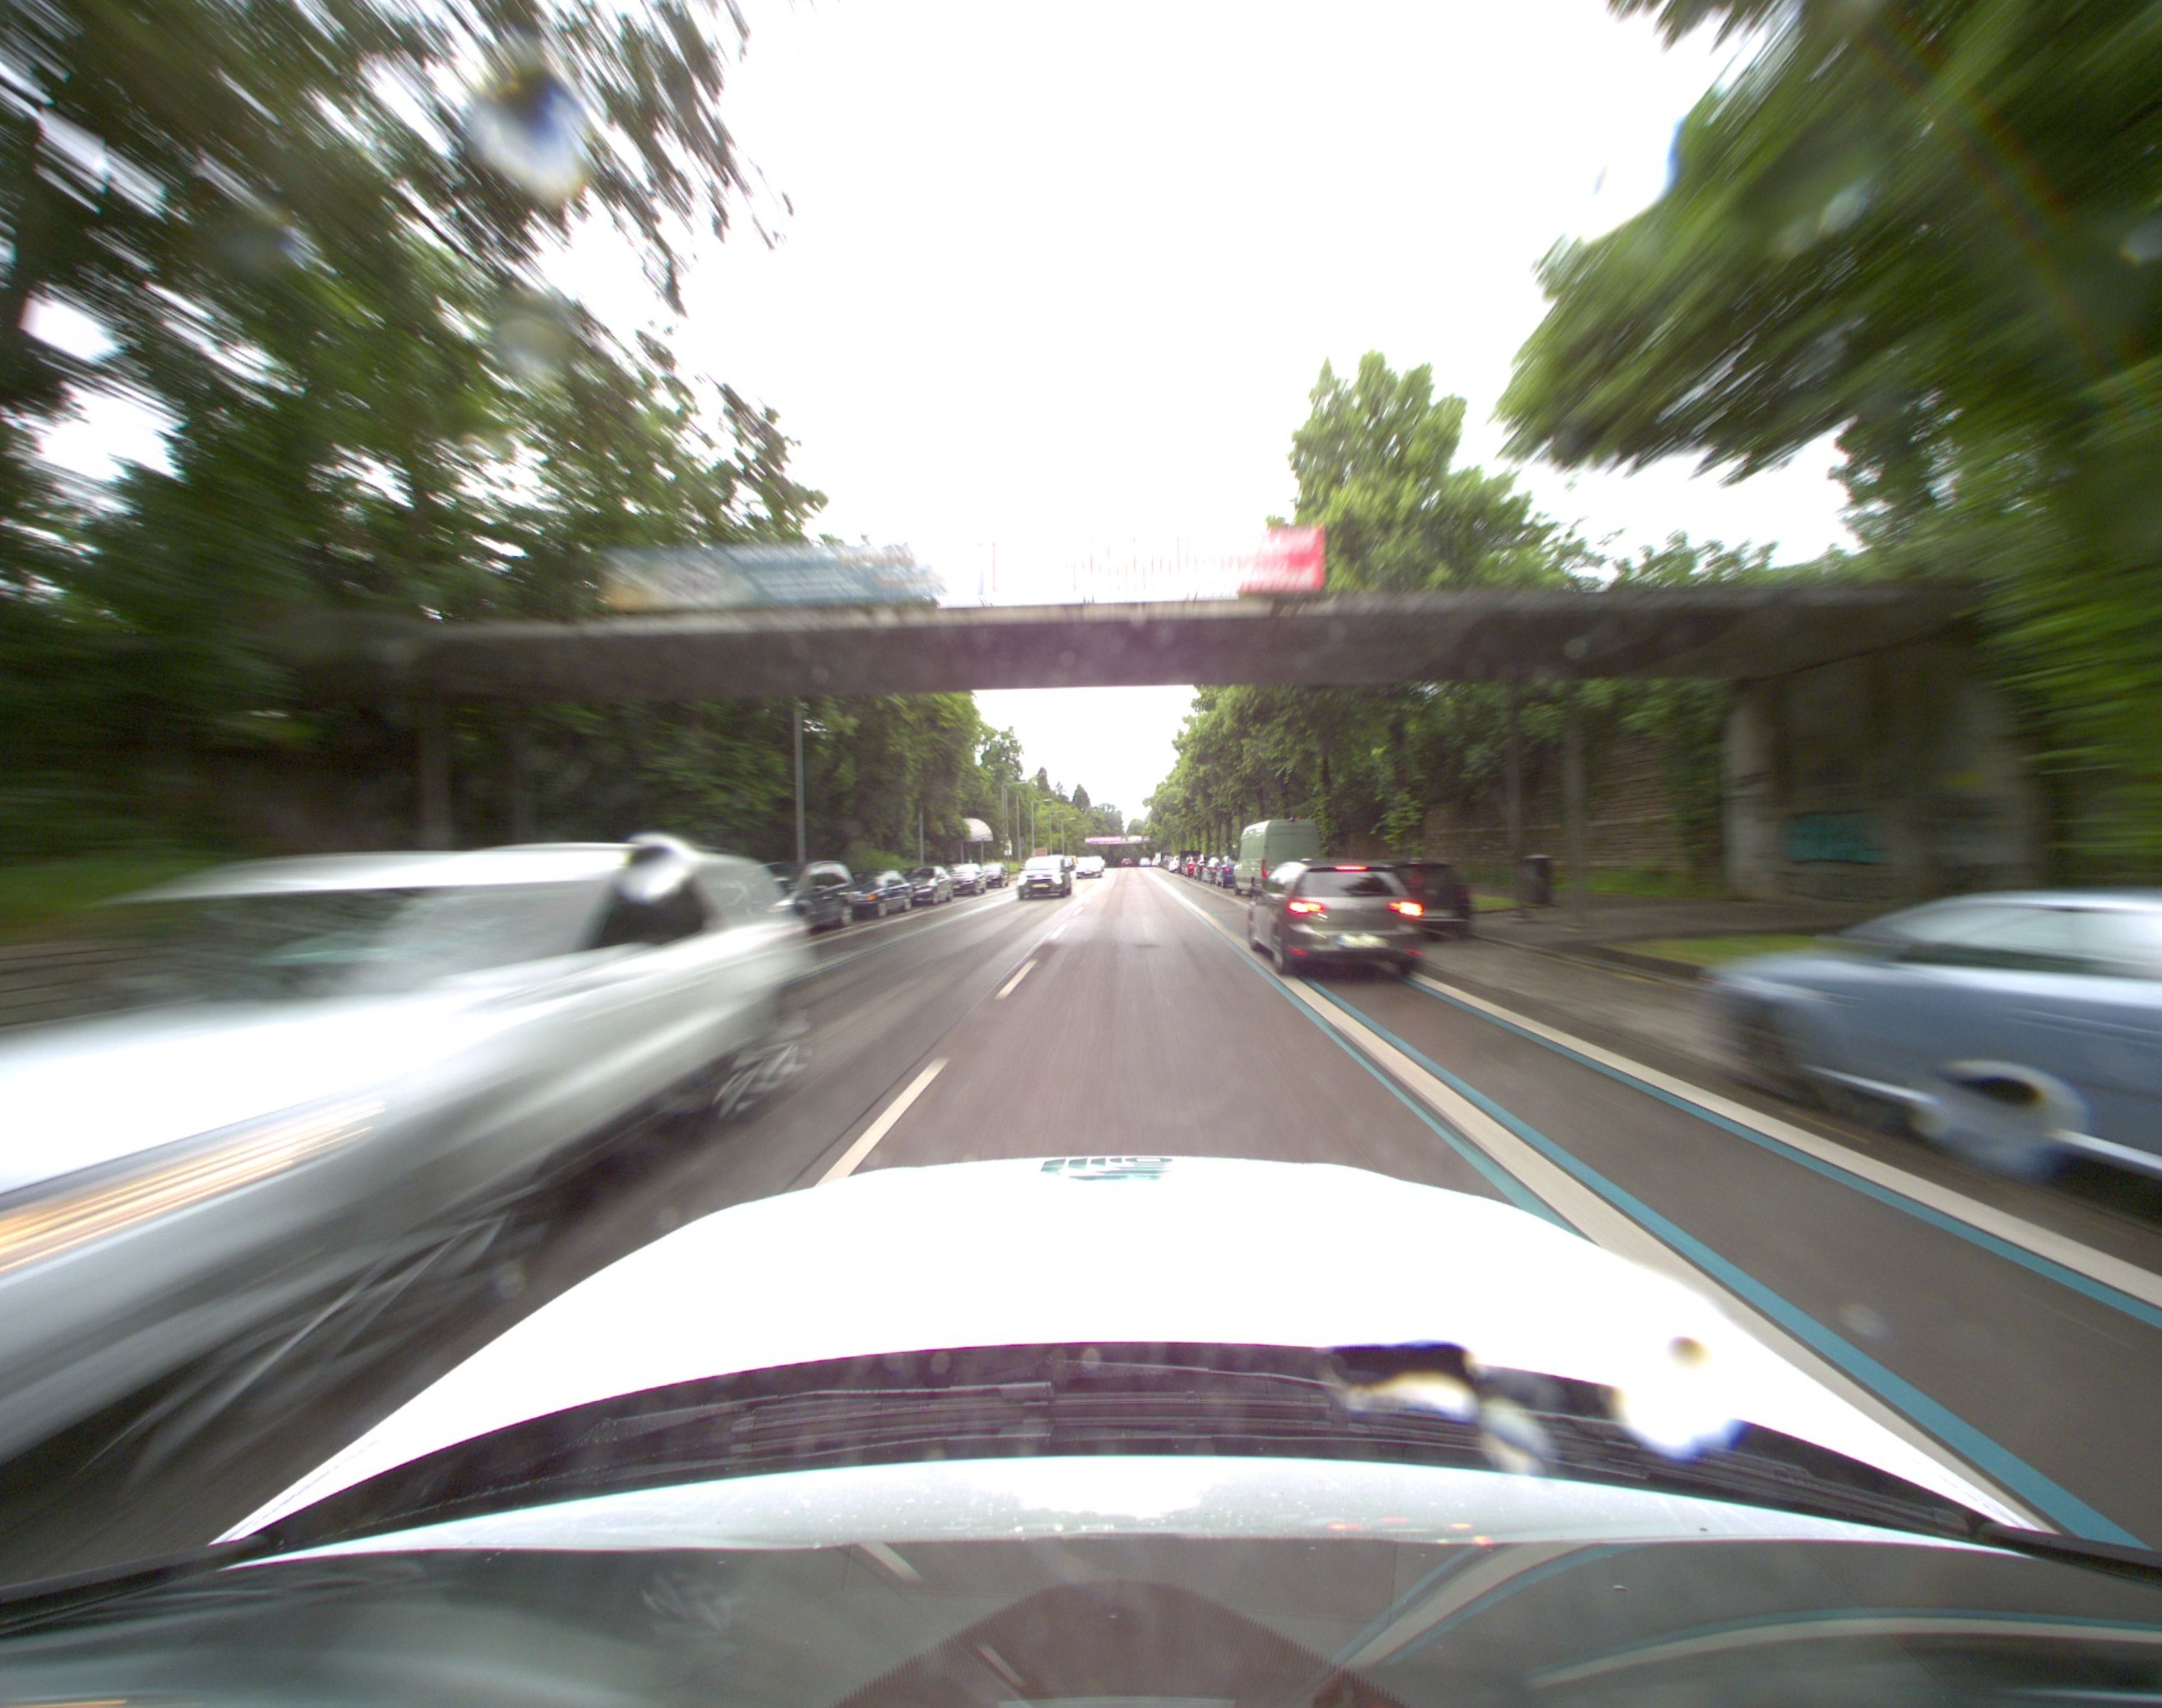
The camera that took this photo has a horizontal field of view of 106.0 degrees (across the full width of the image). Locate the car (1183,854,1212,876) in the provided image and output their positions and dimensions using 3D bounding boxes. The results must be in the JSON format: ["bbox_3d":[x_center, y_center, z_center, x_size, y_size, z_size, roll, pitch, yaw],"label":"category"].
[{"bbox_3d":[8.162,0.738,57.161,1.679,1.453,4.169,0,0,3],"label":"car"}]

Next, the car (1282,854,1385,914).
[{"bbox_3d":[6.565,0.730,21.617,1.679,1.416,4.104,-1,0,3],"label":"car"}]

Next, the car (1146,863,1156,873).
[{"bbox_3d":[12.013,2.386,139.921,1.723,1.462,4.049,-2,0,4],"label":"car"}]

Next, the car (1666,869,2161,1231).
[{"bbox_3d":[4.979,0.783,3.944,1.579,1.353,3.863,0,0,1],"label":"car"}]

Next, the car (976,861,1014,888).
[{"bbox_3d":[-5.021,1.193,48.151,1.664,1.457,3.995,-1,0,2],"label":"car"}]

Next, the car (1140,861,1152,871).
[{"bbox_3d":[10.305,1.900,128.385,1.724,1.583,4.039,-2,0,3],"label":"car"}]

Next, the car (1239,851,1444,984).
[{"bbox_3d":[3.404,0.739,11.484,1.810,1.508,4.143,-1,0,4],"label":"car"}]

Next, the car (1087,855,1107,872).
[{"bbox_3d":[1.692,0.929,85.205,1.788,1.652,4.133,-3,0,4],"label":"car"}]

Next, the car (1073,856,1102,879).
[{"bbox_3d":[0.505,0.977,60.997,1.913,1.560,4.625,-1,0,3],"label":"car"}]

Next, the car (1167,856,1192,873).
[{"bbox_3d":[8.801,0.923,72.869,1.782,1.543,4.891,0,0,1],"label":"car"}]

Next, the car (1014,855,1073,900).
[{"bbox_3d":[-1.439,0.887,32.975,1.958,1.627,4.323,-2,0,2],"label":"car"}]

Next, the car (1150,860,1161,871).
[{"bbox_3d":[12.198,1.943,133.807,1.723,1.684,4.049,-2,0,4],"label":"car"}]

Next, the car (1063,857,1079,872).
[{"bbox_3d":[-1.376,1.414,113.780,1.875,1.945,4.828,-2,0,2],"label":"car"}]

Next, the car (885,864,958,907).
[{"bbox_3d":[-6.100,1.187,31.663,1.777,1.423,4.298,-2,0,2],"label":"car"}]

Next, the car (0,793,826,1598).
[{"bbox_3d":[-2.906,0.764,3.813,1.826,1.666,4.183,-4,0,3],"label":"car"}]

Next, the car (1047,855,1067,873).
[{"bbox_3d":[-2.691,1.086,91.682,1.905,1.931,4.931,-2,0,2],"label":"car"}]

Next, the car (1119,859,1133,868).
[{"bbox_3d":[7.395,1.529,134.162,2.132,1.492,4.499,-1,0,1],"label":"car"}]

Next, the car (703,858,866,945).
[{"bbox_3d":[-6.969,1.035,19.803,1.982,1.742,4.841,-2,0,2],"label":"car"}]

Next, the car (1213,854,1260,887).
[{"bbox_3d":[7.322,0.736,38.632,1.679,1.513,3.838,0,0,3],"label":"car"}]

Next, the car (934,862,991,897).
[{"bbox_3d":[-5.576,1.184,38.894,1.949,1.463,4.756,-1,0,0],"label":"car"}]

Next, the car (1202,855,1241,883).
[{"bbox_3d":[7.566,0.795,44.162,1.679,1.456,4.150,0,0,3],"label":"car"}]

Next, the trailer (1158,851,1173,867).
[{"bbox_3d":[11.517,0.703,111.085,1.875,2.166,3.812,-2,0,4],"label":"trailer"}]

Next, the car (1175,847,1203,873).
[{"bbox_3d":[8.969,0.493,67.971,1.918,2.022,4.668,-1,0,3],"label":"car"}]

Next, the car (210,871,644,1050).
[{"bbox_3d":[-7.367,1.059,9.871,1.681,1.546,4.235,-2,0,2],"label":"car"}]

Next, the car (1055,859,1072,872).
[{"bbox_3d":[-2.171,1.436,102.069,1.724,1.390,4.373,-2,0,2],"label":"car"}]

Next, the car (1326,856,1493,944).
[{"bbox_3d":[6.127,0.775,15.738,1.679,1.416,4.200,-2,0,3],"label":"car"}]

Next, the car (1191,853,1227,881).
[{"bbox_3d":[7.697,0.757,49.371,1.749,1.589,4.502,0,0,3],"label":"car"}]

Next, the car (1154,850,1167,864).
[{"bbox_3d":[12.459,0.474,127.796,1.880,2.127,4.049,-1,0,4],"label":"car"}]

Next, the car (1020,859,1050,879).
[{"bbox_3d":[-3.697,1.210,66.339,2.070,1.482,4.673,-2,0,0],"label":"car"}]

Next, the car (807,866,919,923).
[{"bbox_3d":[-6.627,1.168,25.367,1.976,1.472,4.900,-1,0,2],"label":"car"}]

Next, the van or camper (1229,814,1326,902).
[{"bbox_3d":[6.654,0.124,28.466,2.034,2.729,6.904,0,0,2],"label":"van or camper"}]
